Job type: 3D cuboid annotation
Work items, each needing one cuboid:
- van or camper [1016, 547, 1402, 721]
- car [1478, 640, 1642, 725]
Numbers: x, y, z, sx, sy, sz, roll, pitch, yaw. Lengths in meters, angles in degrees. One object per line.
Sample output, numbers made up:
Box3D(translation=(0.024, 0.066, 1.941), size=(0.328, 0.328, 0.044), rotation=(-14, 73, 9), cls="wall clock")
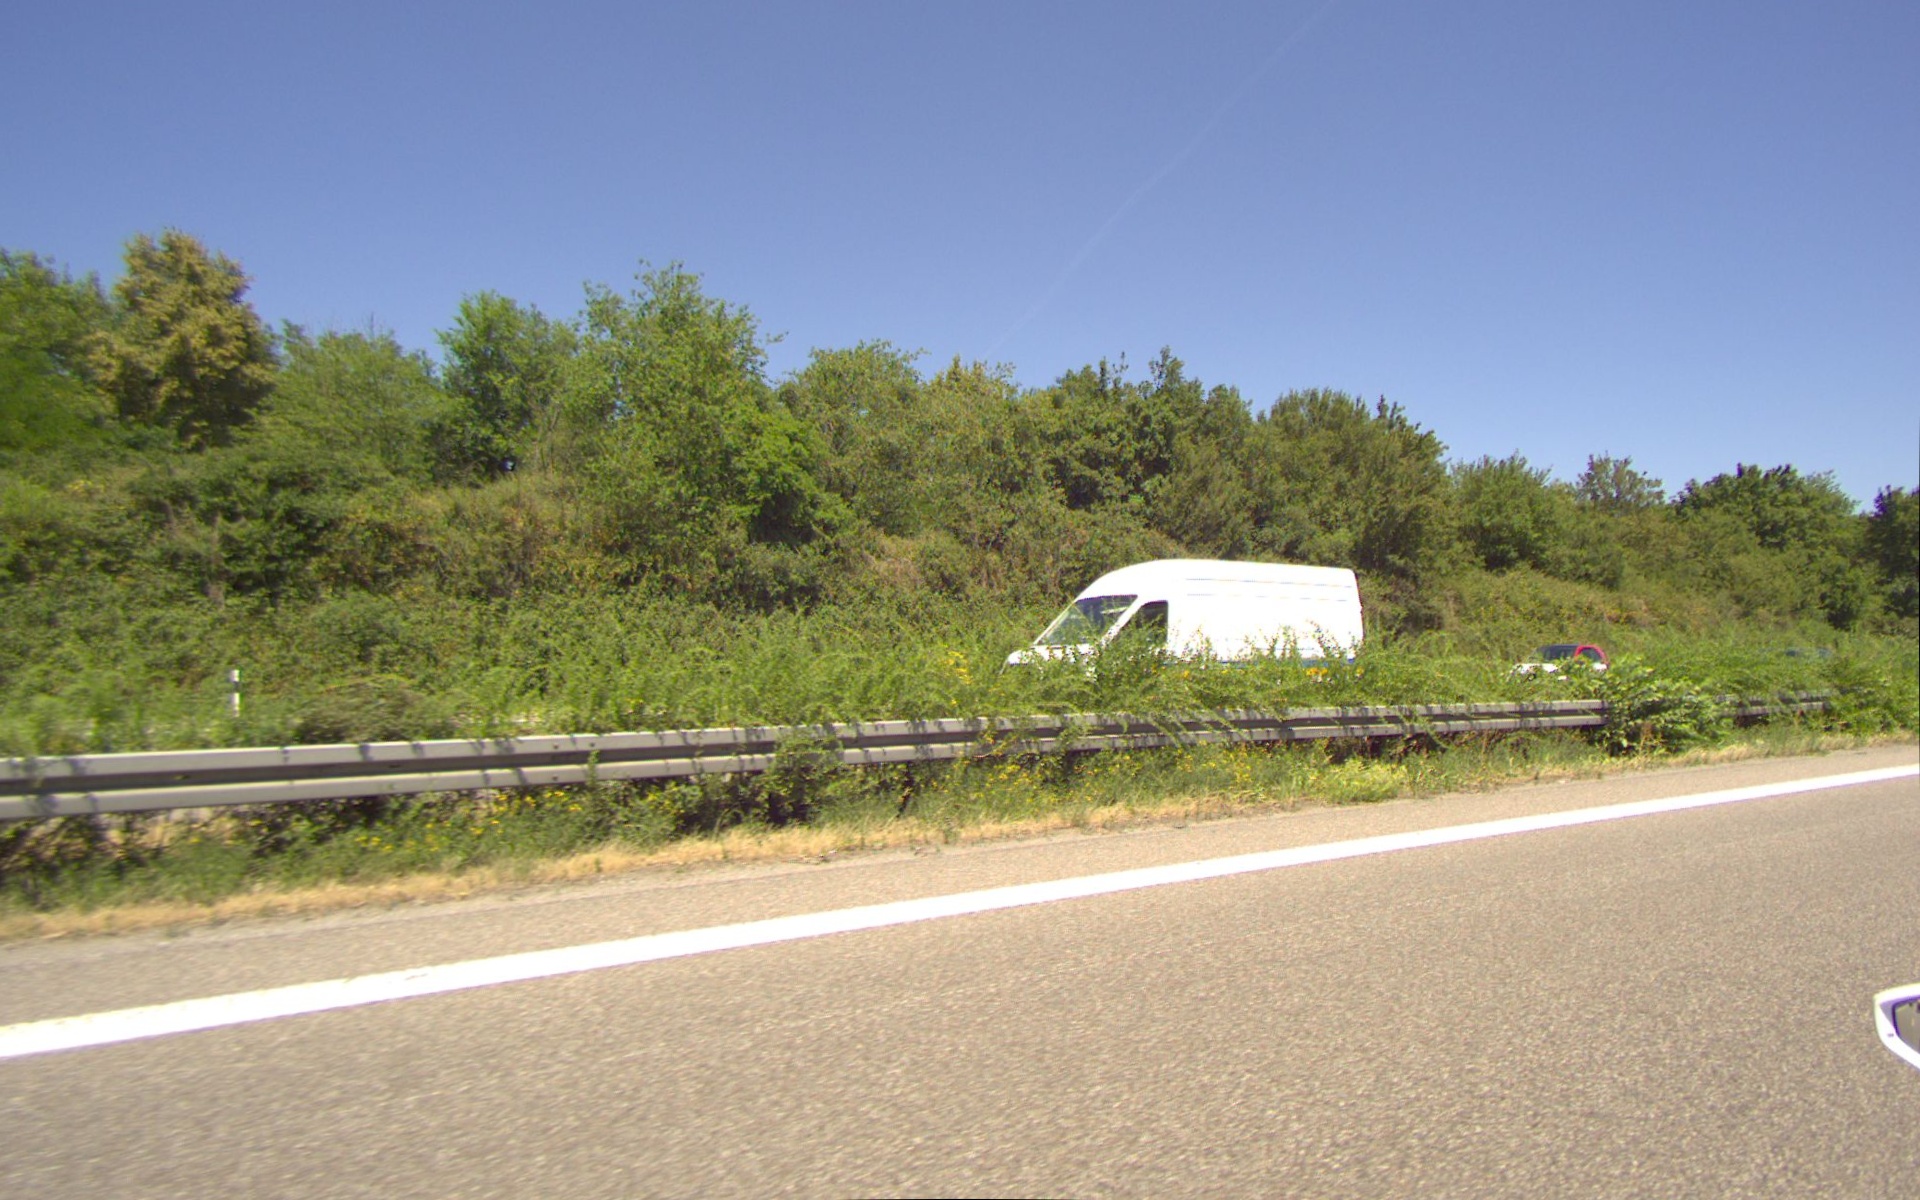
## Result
Box3D(translation=(4.202, 0.546, 16.547), size=(6.263, 2.397, 2.413), rotation=(2, 0, -31), cls="van or camper")
Box3D(translation=(16.088, 2.153, 26.918), size=(4.126, 2.040, 1.984), rotation=(2, 0, -30), cls="car")
